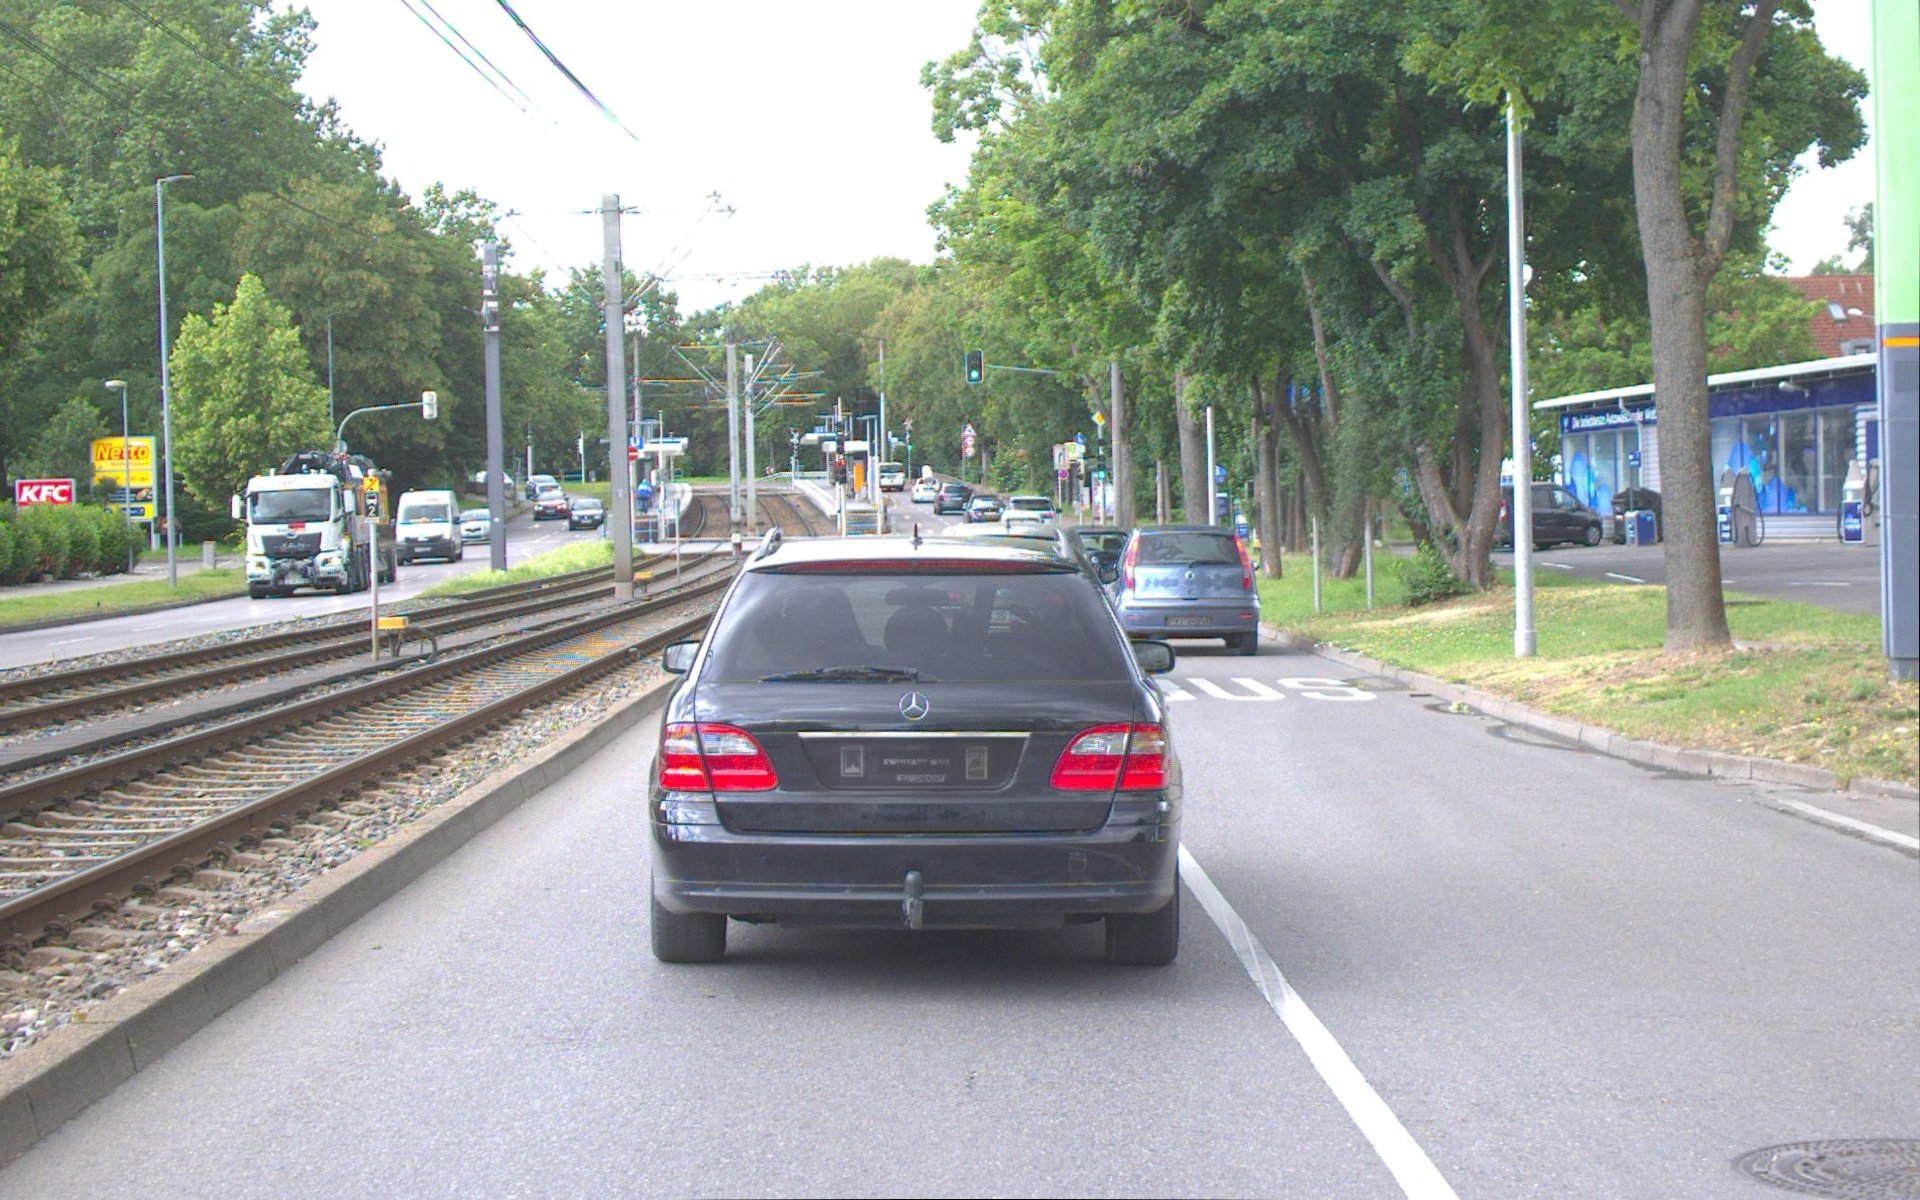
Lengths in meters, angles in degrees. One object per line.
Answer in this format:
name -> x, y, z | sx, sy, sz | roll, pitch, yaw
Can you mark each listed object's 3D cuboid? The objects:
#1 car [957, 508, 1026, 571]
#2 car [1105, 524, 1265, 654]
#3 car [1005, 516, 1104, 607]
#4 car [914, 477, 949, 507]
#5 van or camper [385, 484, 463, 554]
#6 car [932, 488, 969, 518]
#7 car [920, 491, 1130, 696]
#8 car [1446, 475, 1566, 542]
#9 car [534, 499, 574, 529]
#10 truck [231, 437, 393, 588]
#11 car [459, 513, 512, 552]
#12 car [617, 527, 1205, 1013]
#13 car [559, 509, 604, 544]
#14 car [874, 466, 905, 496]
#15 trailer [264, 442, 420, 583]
car -> 0.943, -1.833, 103.798 | 1.993, 1.831, 4.000 | 0, 1, -1
car -> 2.552, -0.152, 39.542 | 1.571, 1.410, 3.354 | 1, 1, -1
car -> 1.503, -0.636, 55.690 | 1.466, 1.410, 3.354 | 1, 1, -1
car -> -1.649, -6.289, 200.330 | 1.993, 1.708, 4.000 | -1, 2, -1
van or camper -> -18.822, -2.866, 120.879 | 1.993, 2.346, 5.767 | -2, 1, -2
car -> -0.517, -5.002, 178.098 | 1.666, 1.527, 3.771 | 0, 1, -4
car -> 0.539, -0.088, 31.418 | 1.780, 1.744, 3.718 | 1, 1, -1
car -> 14.507, -2.434, 91.111 | 2.008, 1.676, 4.574 | -1, 2, 24
car -> -22.586, -4.772, 191.377 | 1.765, 1.641, 3.771 | 0, 1, 0
truck -> -16.888, -2.303, 90.327 | 2.706, 3.651, 11.114 | -2, 1, -3
car -> -20.130, -2.860, 145.862 | 1.765, 1.641, 3.771 | 0, 1, 0
car -> -0.168, 0.484, 12.528 | 1.808, 1.469, 3.881 | 0, 2, 0
car -> -18.139, -3.533, 164.988 | 1.765, 1.641, 3.771 | 0, 1, 0
car -> -4.566, -7.713, 222.943 | 1.993, 1.831, 4.000 | 0, 1, -1
trailer -> -17.284, -2.463, 97.062 | 2.704, 3.648, 13.301 | -2, 1, -4
